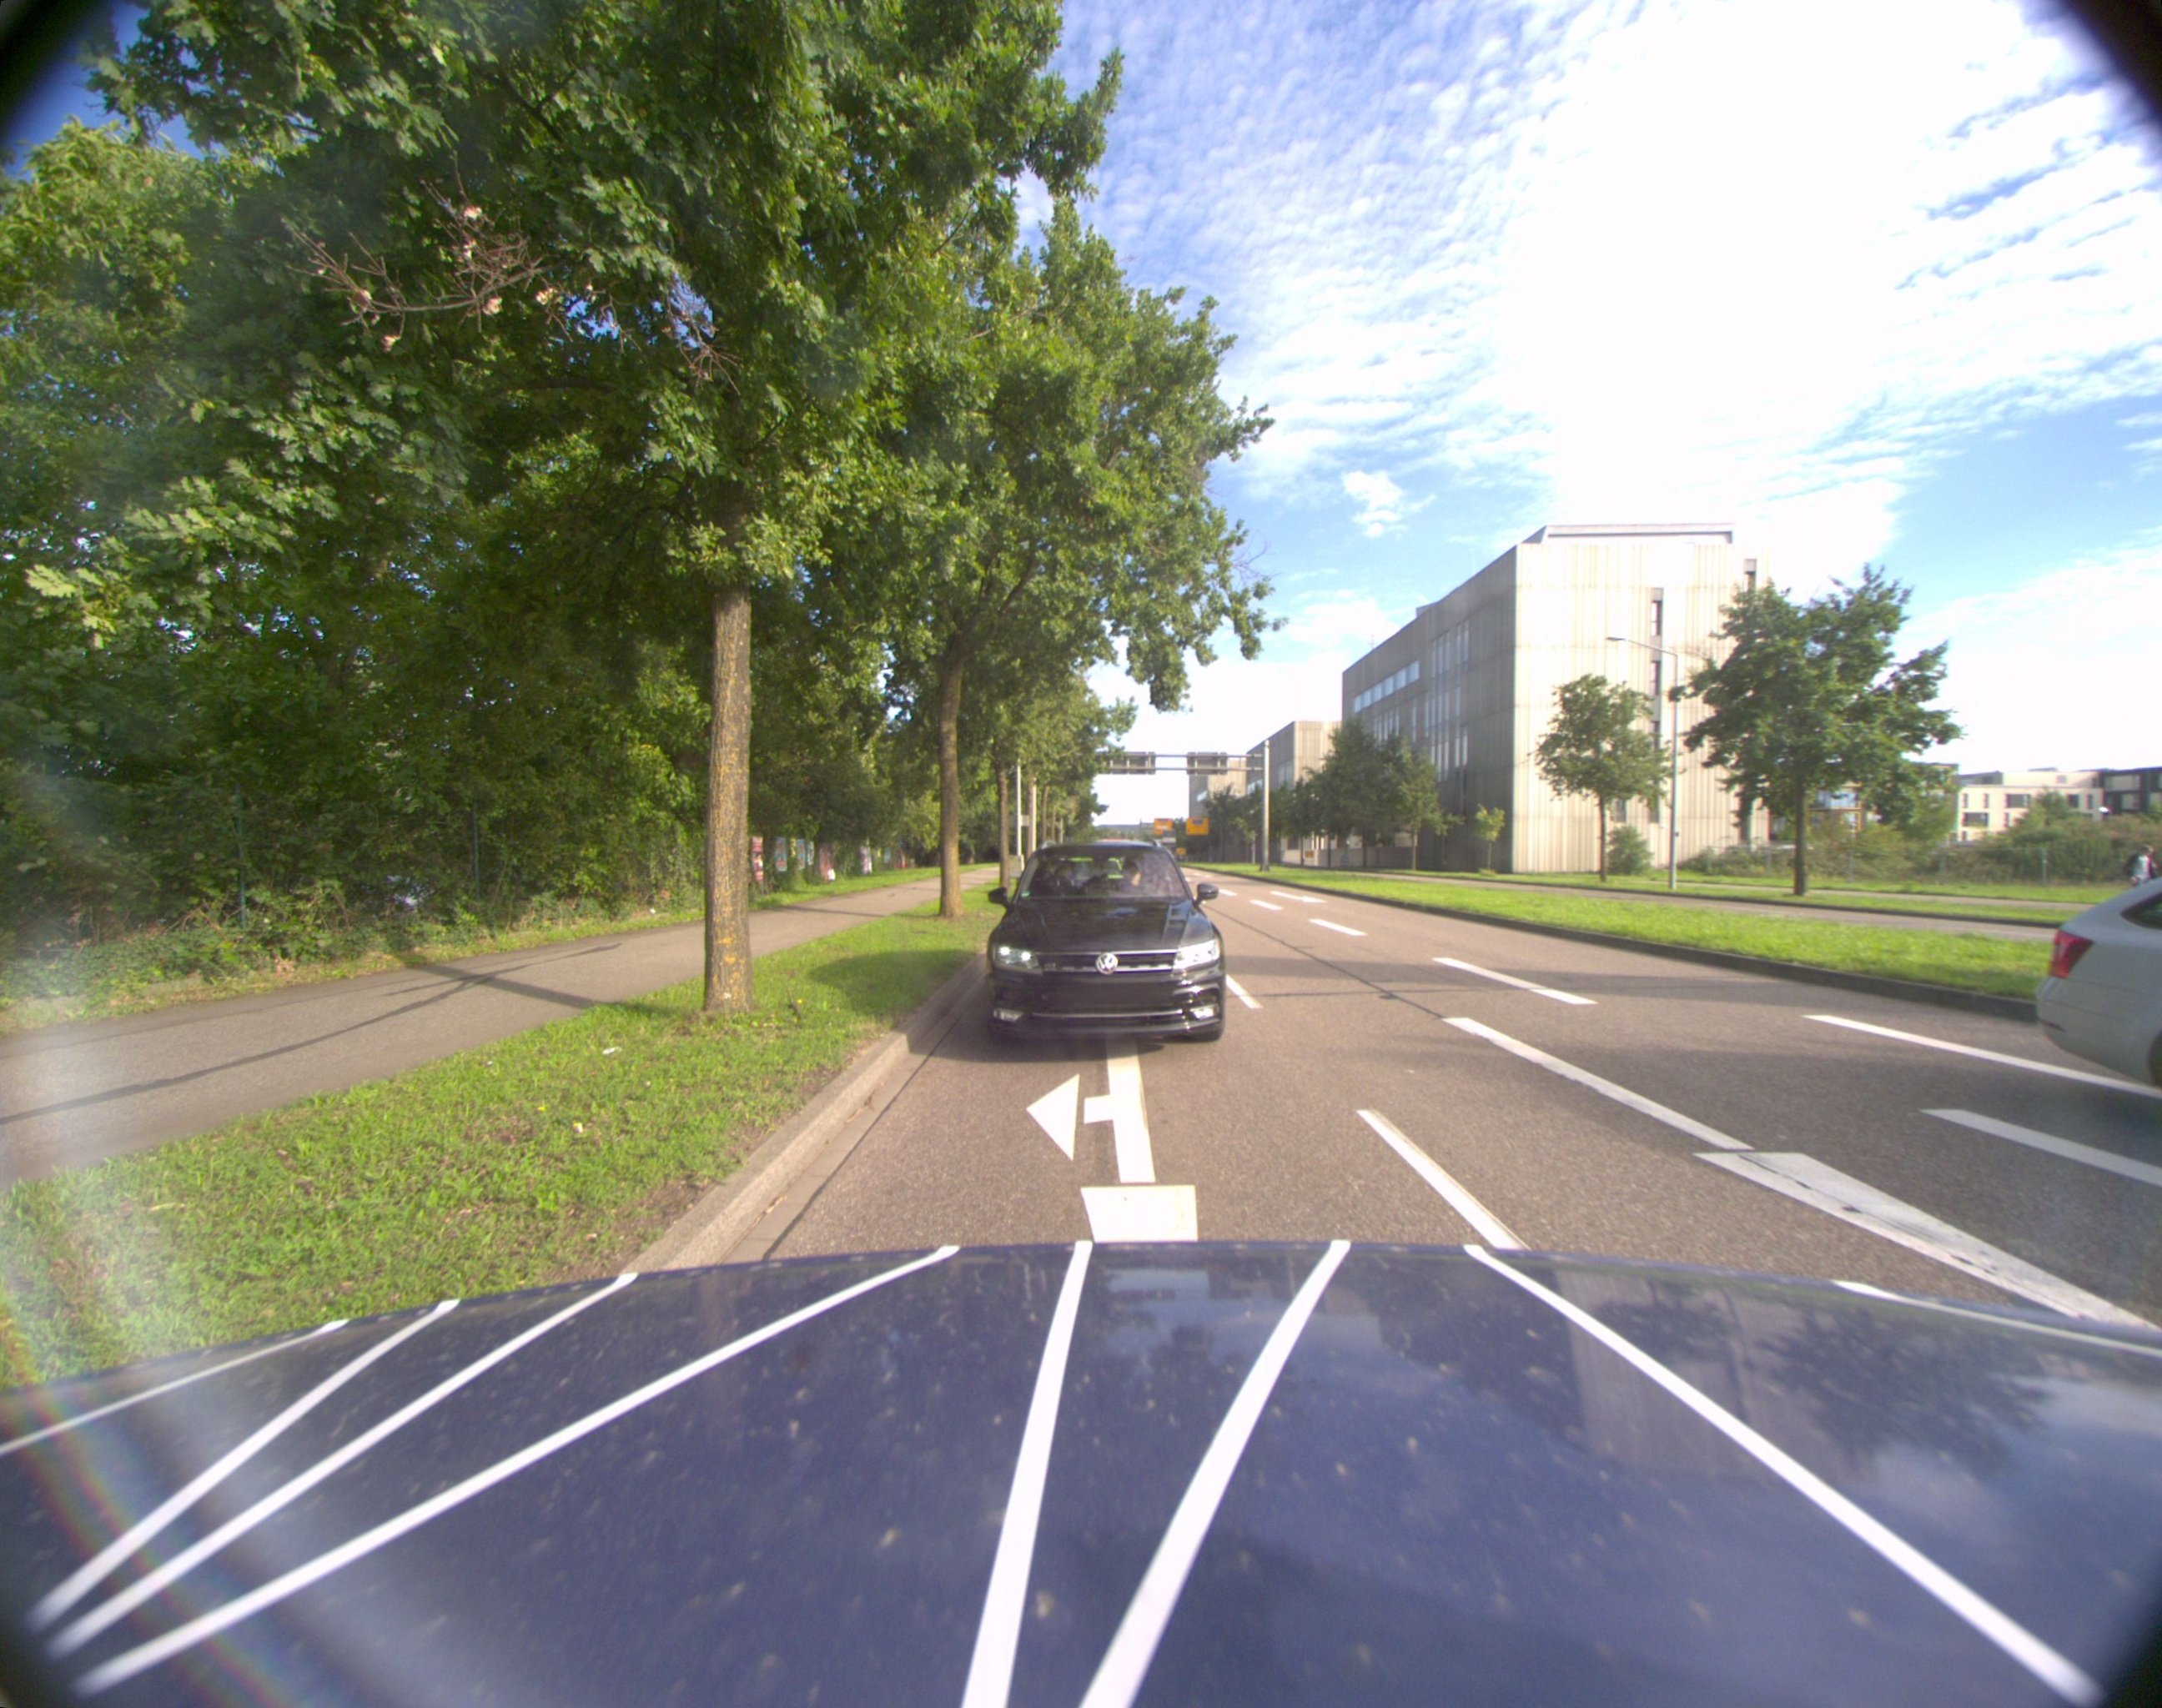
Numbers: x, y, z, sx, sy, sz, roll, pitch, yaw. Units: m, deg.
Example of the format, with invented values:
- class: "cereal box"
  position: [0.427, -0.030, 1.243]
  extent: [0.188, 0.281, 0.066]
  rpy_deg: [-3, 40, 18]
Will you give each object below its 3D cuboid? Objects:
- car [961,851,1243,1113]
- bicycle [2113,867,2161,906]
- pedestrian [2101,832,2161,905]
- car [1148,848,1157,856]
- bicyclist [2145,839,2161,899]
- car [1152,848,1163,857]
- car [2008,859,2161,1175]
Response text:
- class: "car"
  position: [0.190, 0.823, 6.830]
  extent: [1.775, 1.637, 3.868]
  rpy_deg: [-1, 1, 2]
- class: "bicycle"
  position: [27.622, 0.834, 19.048]
  extent: [0.897, 0.975, 1.911]
  rpy_deg: [1, 0, 1]
- class: "pedestrian"
  position: [29.625, 0.407, 21.359]
  extent: [0.676, 2.002, 0.867]
  rpy_deg: [0, 1, 0]
- class: "car"
  position: [17.645, -0.537, 187.772]
  extent: [1.998, 2.002, 3.983]
  rpy_deg: [0, 0, 0]
- class: "bicyclist"
  position: [27.616, 0.385, 18.951]
  extent: [0.707, 1.517, 0.989]
  rpy_deg: [0, 1, 1]
- class: "car"
  position: [17.092, -0.358, 169.210]
  extent: [1.998, 2.002, 4.000]
  rpy_deg: [0, 0, 0]
- class: "car"
  position: [5.983, 0.797, 1.973]
  extent: [1.702, 1.490, 4.481]
  rpy_deg: [-1, 1, 1]
